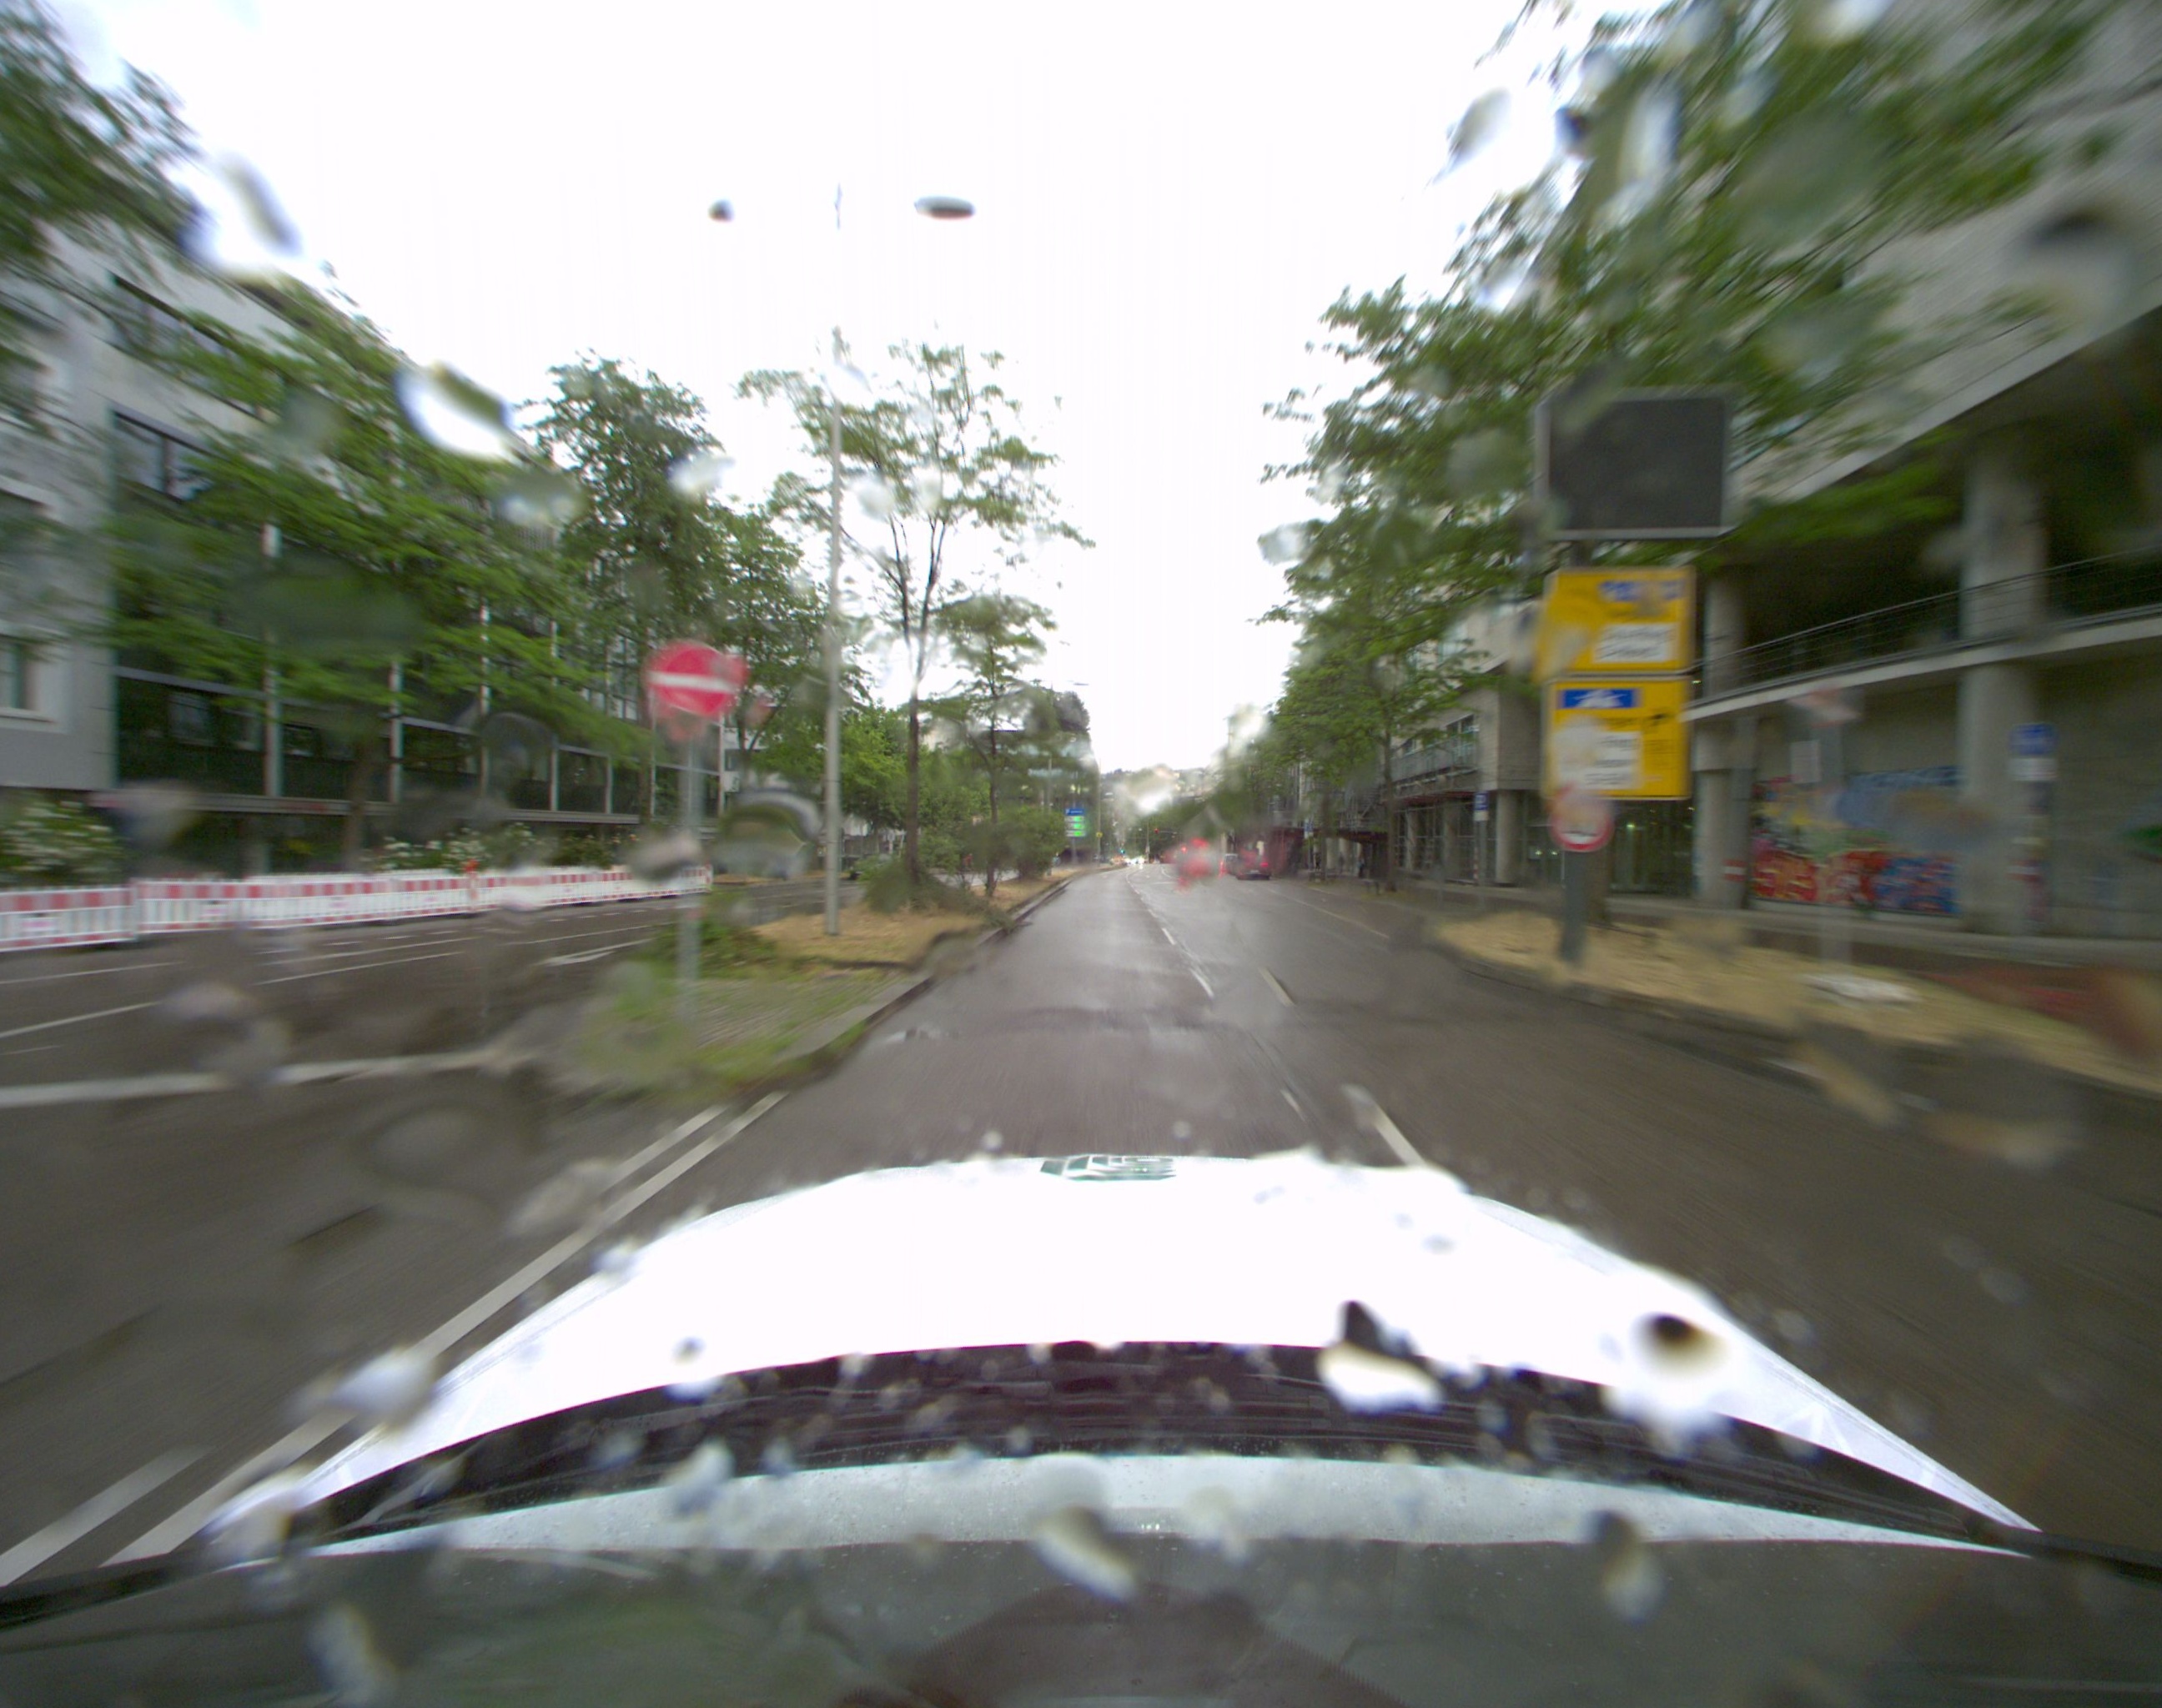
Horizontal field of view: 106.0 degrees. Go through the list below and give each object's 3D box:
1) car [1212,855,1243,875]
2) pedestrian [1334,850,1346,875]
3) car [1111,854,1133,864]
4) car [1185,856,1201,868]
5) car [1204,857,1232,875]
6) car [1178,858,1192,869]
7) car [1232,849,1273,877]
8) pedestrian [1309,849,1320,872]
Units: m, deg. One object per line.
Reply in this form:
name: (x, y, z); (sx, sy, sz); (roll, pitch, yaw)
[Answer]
car: (11.255, 0.839, 62.812); (1.837, 1.492, 4.002); (0, 0, 2)
pedestrian: (20.620, 0.686, 64.877); (0.770, 1.921, 0.705); (-1, -2, 12)
car: (7.557, 0.925, 150.937); (1.842, 1.640, 4.255); (2, -1, -34)
car: (16.884, 1.240, 123.149); (1.986, 1.724, 4.000); (0, -1, 1)
car: (11.668, 0.995, 69.502); (1.837, 1.492, 4.002); (0, 0, 2)
car: (17.130, 1.542, 134.297); (1.986, 1.736, 4.001); (0, -1, 2)
car: (10.681, 0.532, 51.024); (2.324, 1.691, 4.010); (0, 0, 9)
pedestrian: (19.567, 0.530, 68.231); (0.772, 1.921, 0.702); (0, -2, 1)
